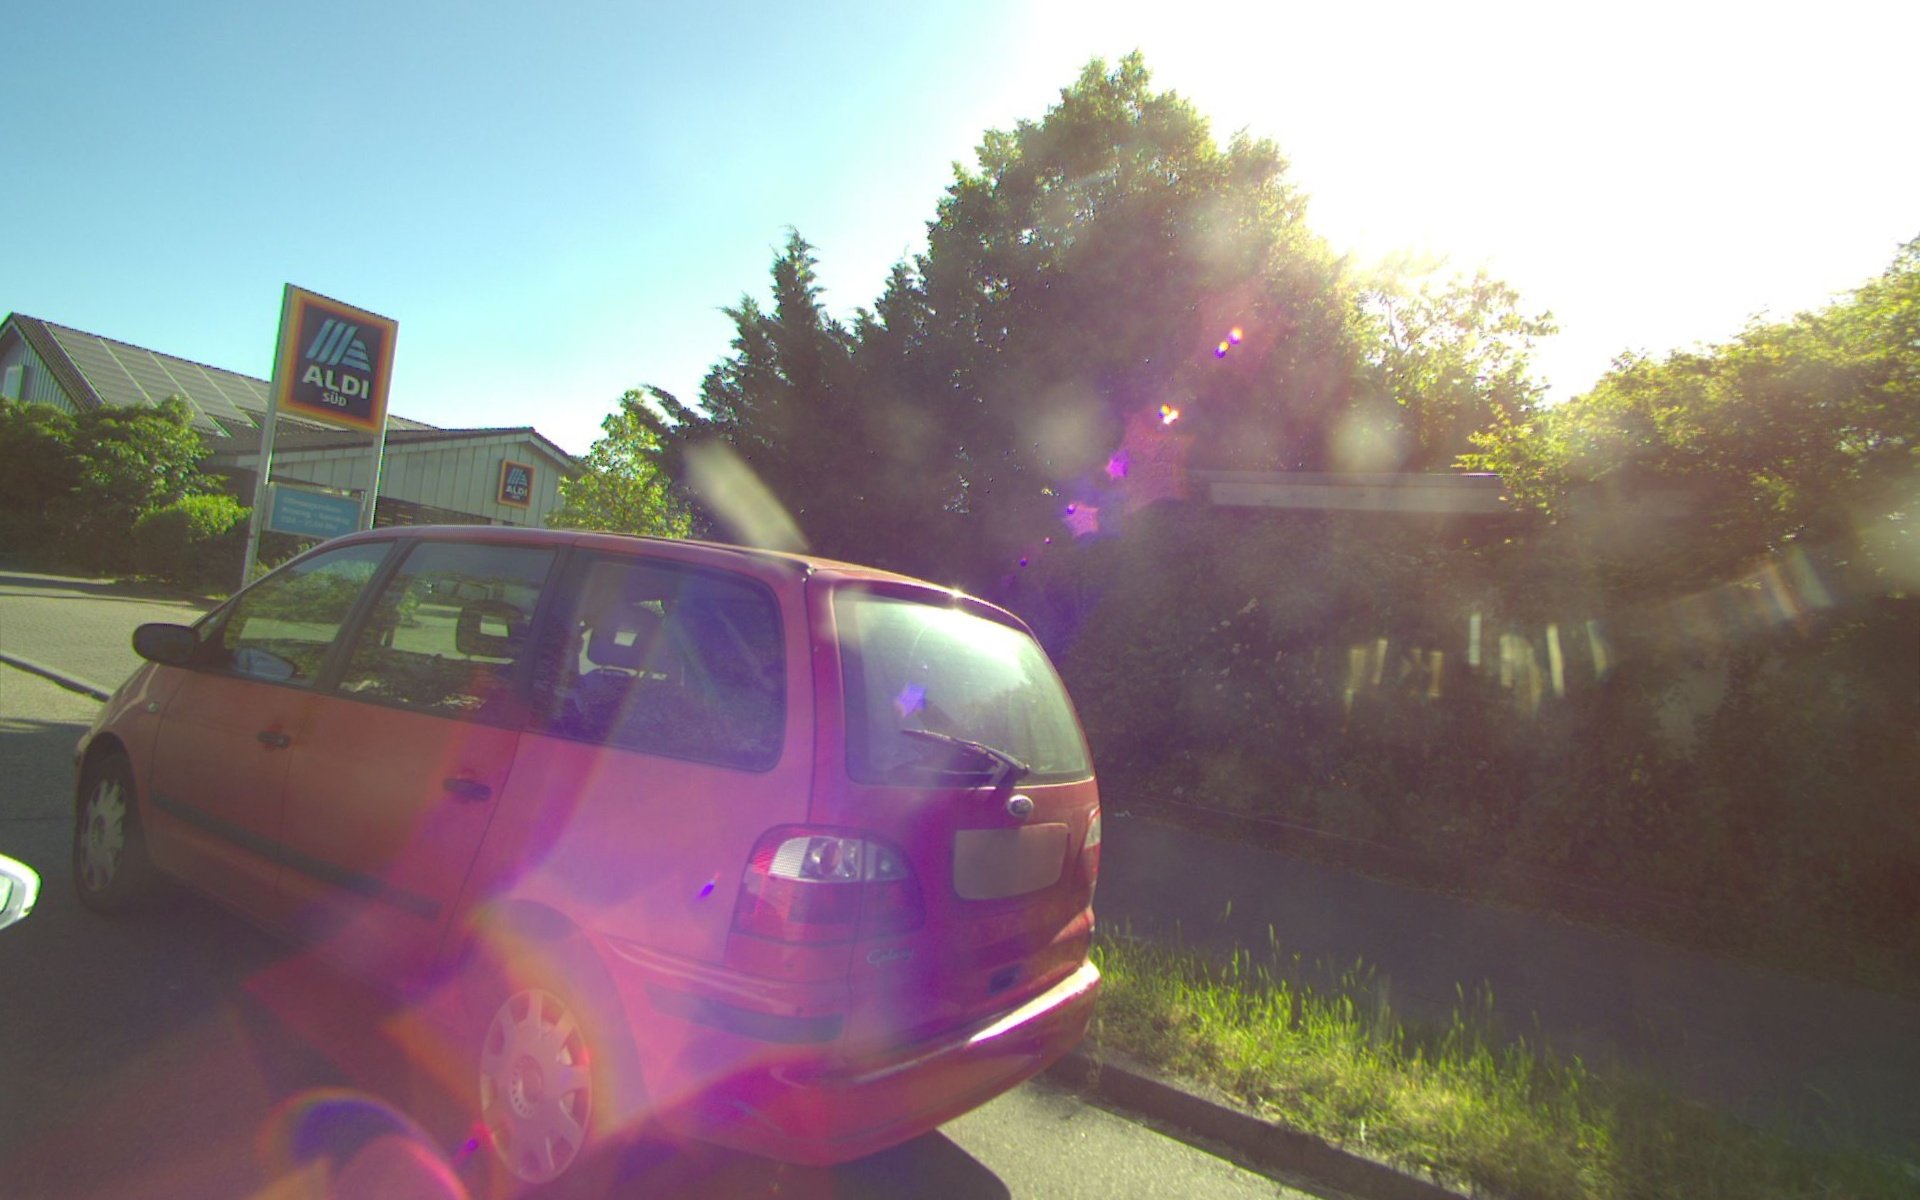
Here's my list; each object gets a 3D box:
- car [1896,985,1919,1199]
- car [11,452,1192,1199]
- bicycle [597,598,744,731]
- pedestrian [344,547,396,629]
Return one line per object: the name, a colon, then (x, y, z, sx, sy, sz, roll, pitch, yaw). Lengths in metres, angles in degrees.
car: (3.629, 1.156, 0.524, 4.282, 1.675, 1.728, 6, -2, 33)
car: (-1.701, 0.552, 3.947, 4.579, 1.826, 1.843, 6, -2, 34)
bicycle: (-3.174, 0.666, 10.904, 0.717, 1.235, 1.875, 6, -1, -41)
pedestrian: (-12.555, -0.259, 21.400, 0.688, 1.650, 0.769, 8, -2, -36)
